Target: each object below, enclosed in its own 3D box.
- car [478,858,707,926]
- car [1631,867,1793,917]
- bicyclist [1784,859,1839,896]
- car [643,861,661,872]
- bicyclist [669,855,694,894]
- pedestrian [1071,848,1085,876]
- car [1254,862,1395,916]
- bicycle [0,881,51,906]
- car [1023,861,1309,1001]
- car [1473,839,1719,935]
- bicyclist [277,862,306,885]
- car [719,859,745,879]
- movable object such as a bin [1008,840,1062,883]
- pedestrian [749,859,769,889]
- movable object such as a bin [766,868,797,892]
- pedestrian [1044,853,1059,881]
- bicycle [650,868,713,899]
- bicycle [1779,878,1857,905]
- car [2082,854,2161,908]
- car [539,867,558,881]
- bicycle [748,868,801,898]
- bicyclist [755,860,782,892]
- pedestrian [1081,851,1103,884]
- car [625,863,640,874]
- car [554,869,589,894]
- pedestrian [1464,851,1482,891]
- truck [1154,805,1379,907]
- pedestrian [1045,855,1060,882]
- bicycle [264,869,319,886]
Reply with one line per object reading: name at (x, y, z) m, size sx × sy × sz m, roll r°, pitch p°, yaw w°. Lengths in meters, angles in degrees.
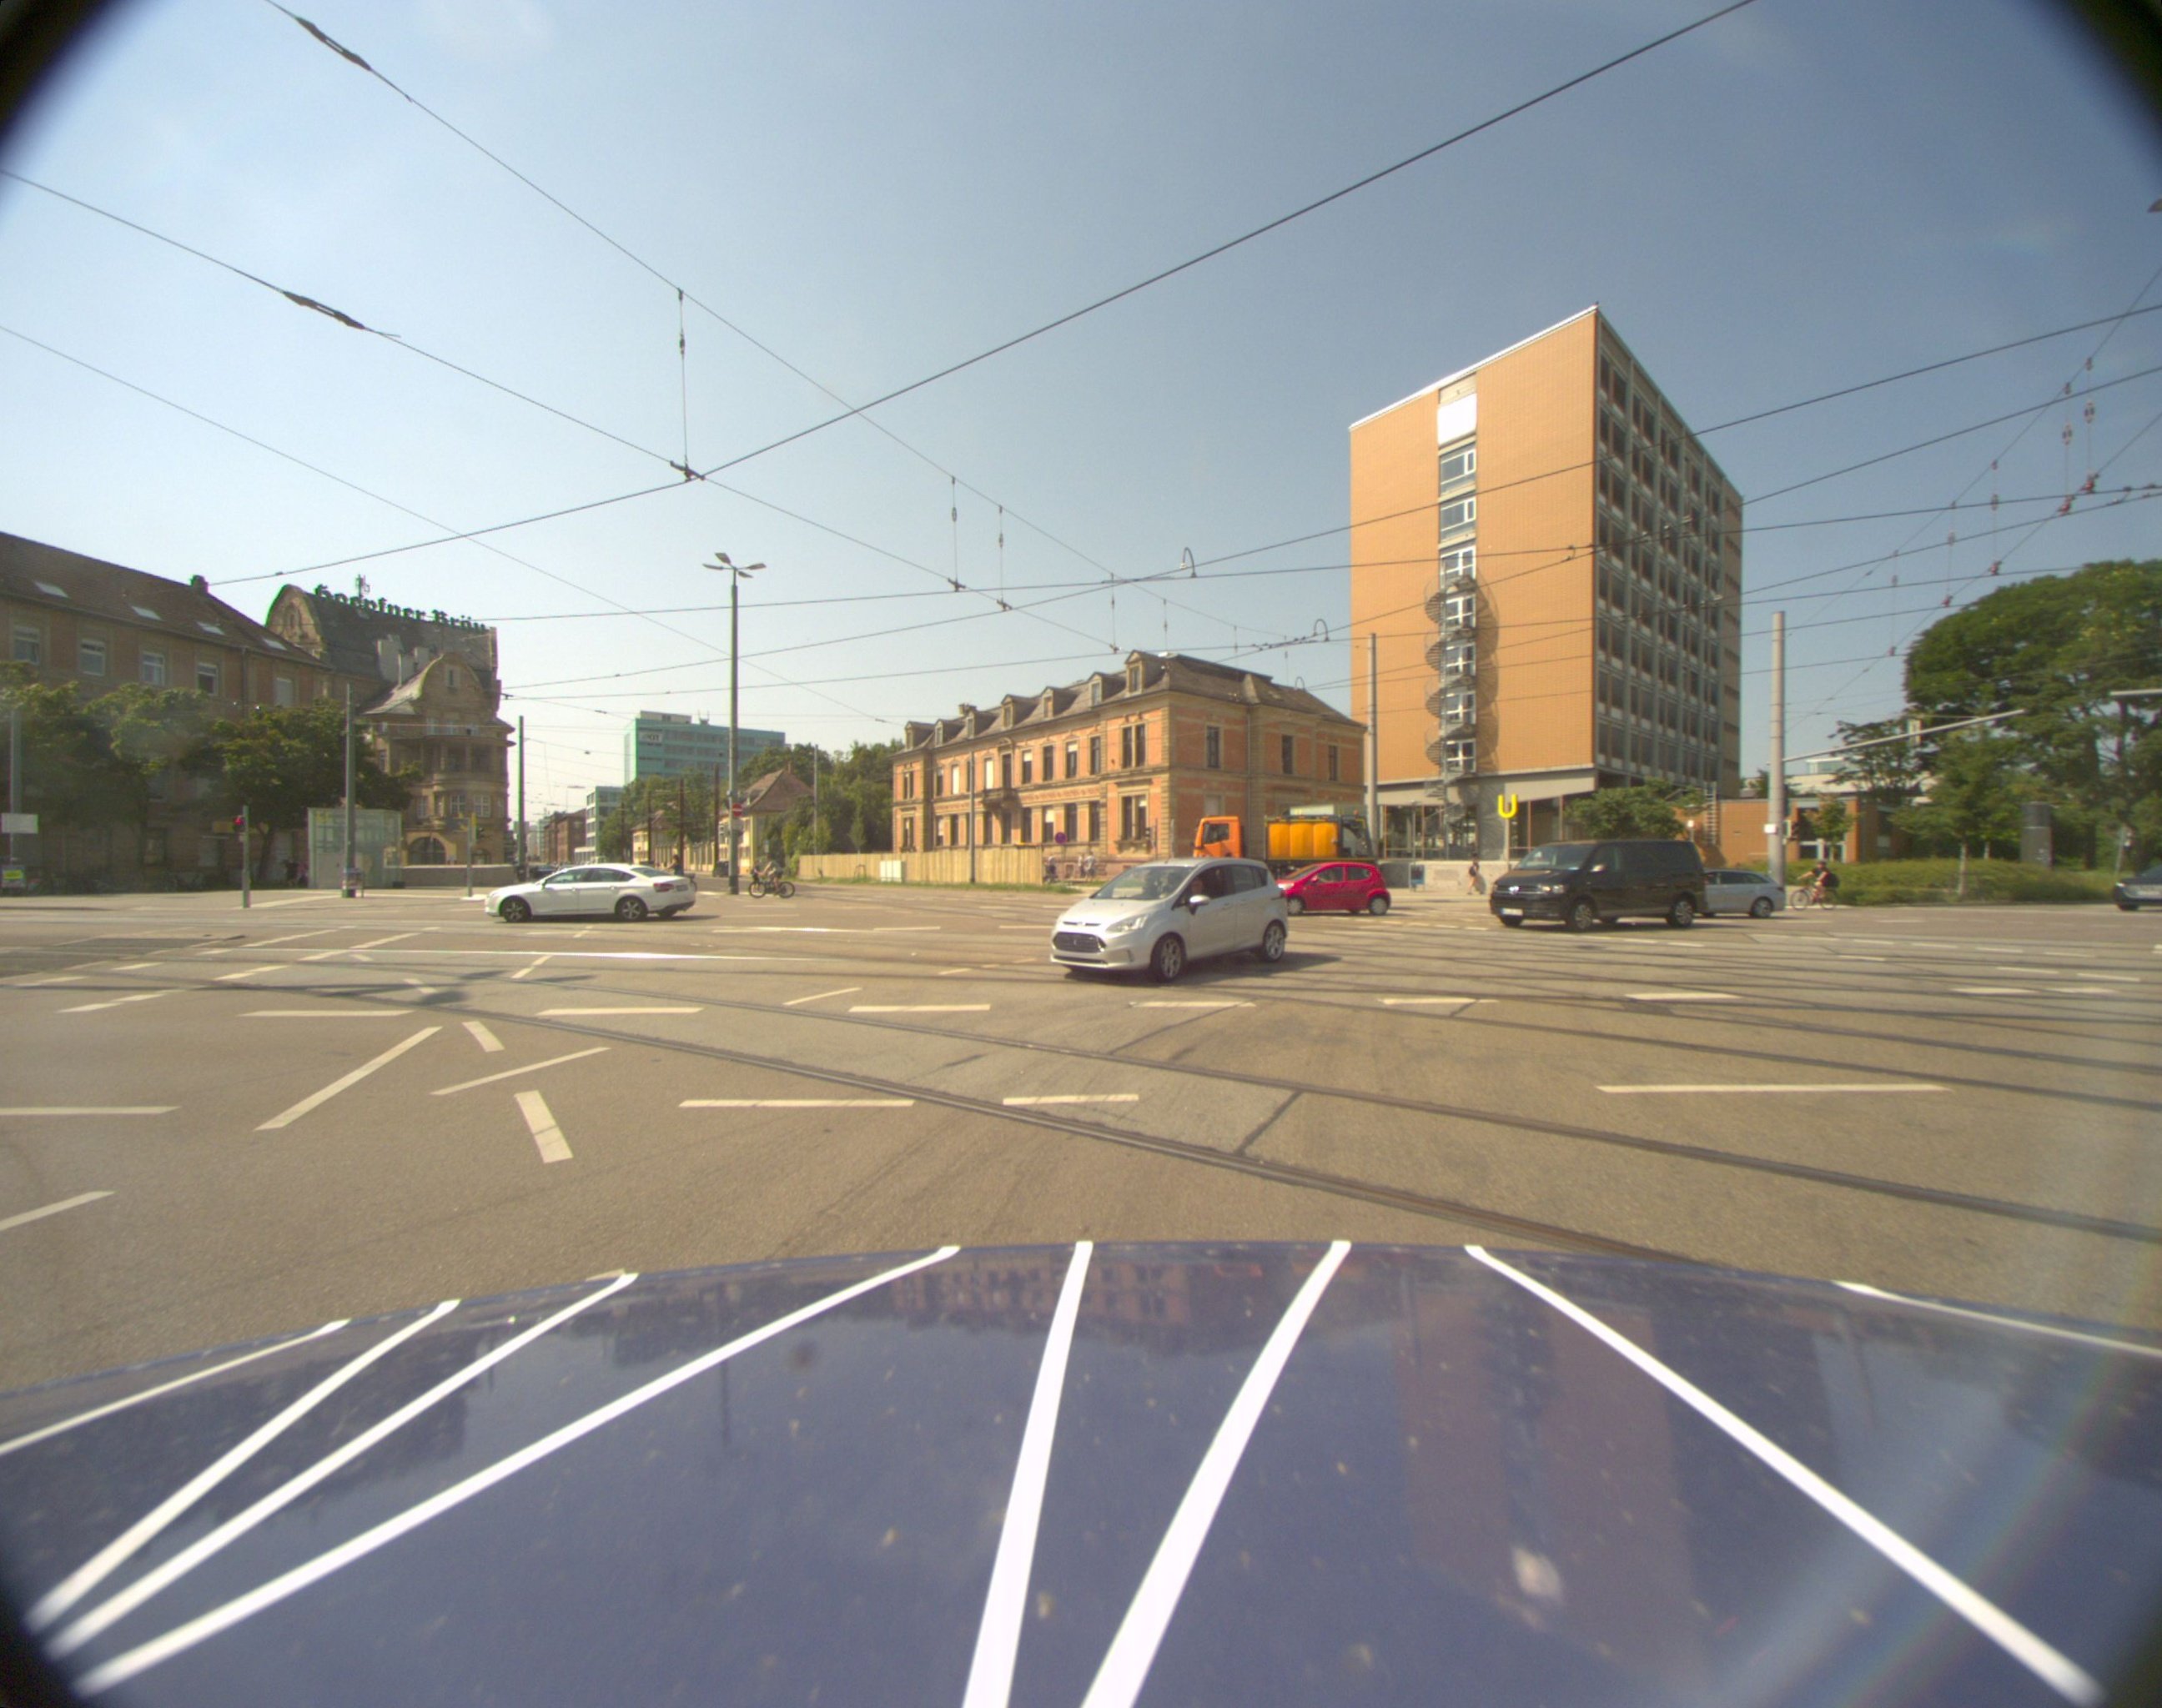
car at (-12.271, 0.920, 19.315) m, size 4.600 × 1.609 × 1.771 m, roll 0°, pitch 0°, yaw -3°
car at (17.935, 1.063, 21.668) m, size 3.507 × 1.331 × 1.517 m, roll 0°, pitch 0°, yaw -5°
bicyclist at (25.427, 0.820, 26.456) m, size 1.105 × 1.258 × 0.857 m, roll 0°, pitch 0°, yaw -4°
car at (-66.827, 1.991, 118.324) m, size 2.004 × 1.673 × 3.991 m, roll 0°, pitch -2°, yaw -35°
bicyclist at (-15.419, 0.780, 29.338) m, size 0.644 × 1.472 × 0.658 m, roll 0°, pitch 0°, yaw -2°
pedestrian at (-0.178, 0.497, 45.819) m, size 0.684 × 1.662 × 0.685 m, roll 0°, pitch 0°, yaw 20°
car at (6.622, 0.918, 20.834) m, size 3.358 × 1.400 × 1.517 m, roll 0°, pitch 0°, yaw -5°
bicycle at (-42.895, 1.589, 30.574) m, size 0.461 × 0.952 × 1.788 m, roll 0°, pitch 0°, yaw 0°
car at (1.403, 0.920, 11.021) m, size 4.370 × 1.585 × 1.688 m, roll -1°, pitch 0°, yaw -43°
car at (11.394, 0.625, 16.836) m, size 4.889 × 1.920 × 1.897 m, roll -1°, pitch 2°, yaw -18°
bicyclist at (-45.737, 1.144, 44.027) m, size 0.921 × 1.312 × 0.749 m, roll 0°, pitch 0°, yaw -4°
car at (-37.081, 1.594, 80.656) m, size 2.003 × 2.001 × 3.991 m, roll 0°, pitch -2°, yaw -32°
movable object such as a bin at (-2.976, 0.458, 48.363) m, size 1.821 × 2.656 × 4.446 m, roll 0°, pitch 0°, yaw -27°
pedestrian at (-15.012, 0.926, 35.450) m, size 0.817 × 1.343 × 0.718 m, roll 0°, pitch 0°, yaw -19°
movable object such as a bin at (-13.960, 1.221, 35.393) m, size 1.036 × 1.078 × 0.821 m, roll -2°, pitch -1°, yaw 15°
pedestrian at (-1.722, 0.765, 44.933) m, size 0.684 × 1.662 × 0.685 m, roll 0°, pitch 0°, yaw 20°
bicycle at (-15.417, 1.135, 29.325) m, size 2.127 × 1.105 × 0.441 m, roll -2°, pitch 0°, yaw -2°
bicycle at (25.551, 1.305, 26.364) m, size 2.169 × 0.893 × 0.641 m, roll 0°, pitch 0°, yaw -3°
car at (35.368, 0.827, 24.251) m, size 4.698 × 1.631 × 1.999 m, roll -1°, pitch 0°, yaw -6°
car at (-55.491, 2.113, 79.173) m, size 1.378 × 1.389 × 3.248 m, roll 0°, pitch -2°, yaw -40°
bicycle at (-11.917, 1.101, 29.516) m, size 1.858 × 1.105 × 0.711 m, roll 0°, pitch 0°, yaw -27°
bicyclist at (-12.095, 0.829, 29.407) m, size 0.865 × 1.226 × 1.099 m, roll 0°, pitch 0°, yaw -26°
pedestrian at (0.601, 0.733, 41.458) m, size 1.037 × 1.802 × 0.685 m, roll 0°, pitch 0°, yaw 20°
car at (-78.182, 2.531, 132.425) m, size 2.004 × 1.892 × 3.991 m, roll 0°, pitch -2°, yaw -35°
car at (-28.396, 1.509, 42.417) m, size 1.591 × 1.280 × 3.718 m, roll 0°, pitch 0°, yaw -33°
pedestrian at (17.065, 0.727, 33.078) m, size 0.456 × 1.709 × 0.560 m, roll -1°, pitch -1°, yaw 1°
truck at (6.421, 0.162, 26.750) m, size 7.177 × 3.209 × 3.046 m, roll -2°, pitch -1°, yaw 14°
pedestrian at (-1.707, 0.863, 45.630) m, size 0.684 × 1.662 × 0.685 m, roll 0°, pitch 0°, yaw 20°
bicycle at (-45.720, 1.351, 44.008) m, size 2.374 × 0.992 × 0.646 m, roll 0°, pitch 0°, yaw -4°
